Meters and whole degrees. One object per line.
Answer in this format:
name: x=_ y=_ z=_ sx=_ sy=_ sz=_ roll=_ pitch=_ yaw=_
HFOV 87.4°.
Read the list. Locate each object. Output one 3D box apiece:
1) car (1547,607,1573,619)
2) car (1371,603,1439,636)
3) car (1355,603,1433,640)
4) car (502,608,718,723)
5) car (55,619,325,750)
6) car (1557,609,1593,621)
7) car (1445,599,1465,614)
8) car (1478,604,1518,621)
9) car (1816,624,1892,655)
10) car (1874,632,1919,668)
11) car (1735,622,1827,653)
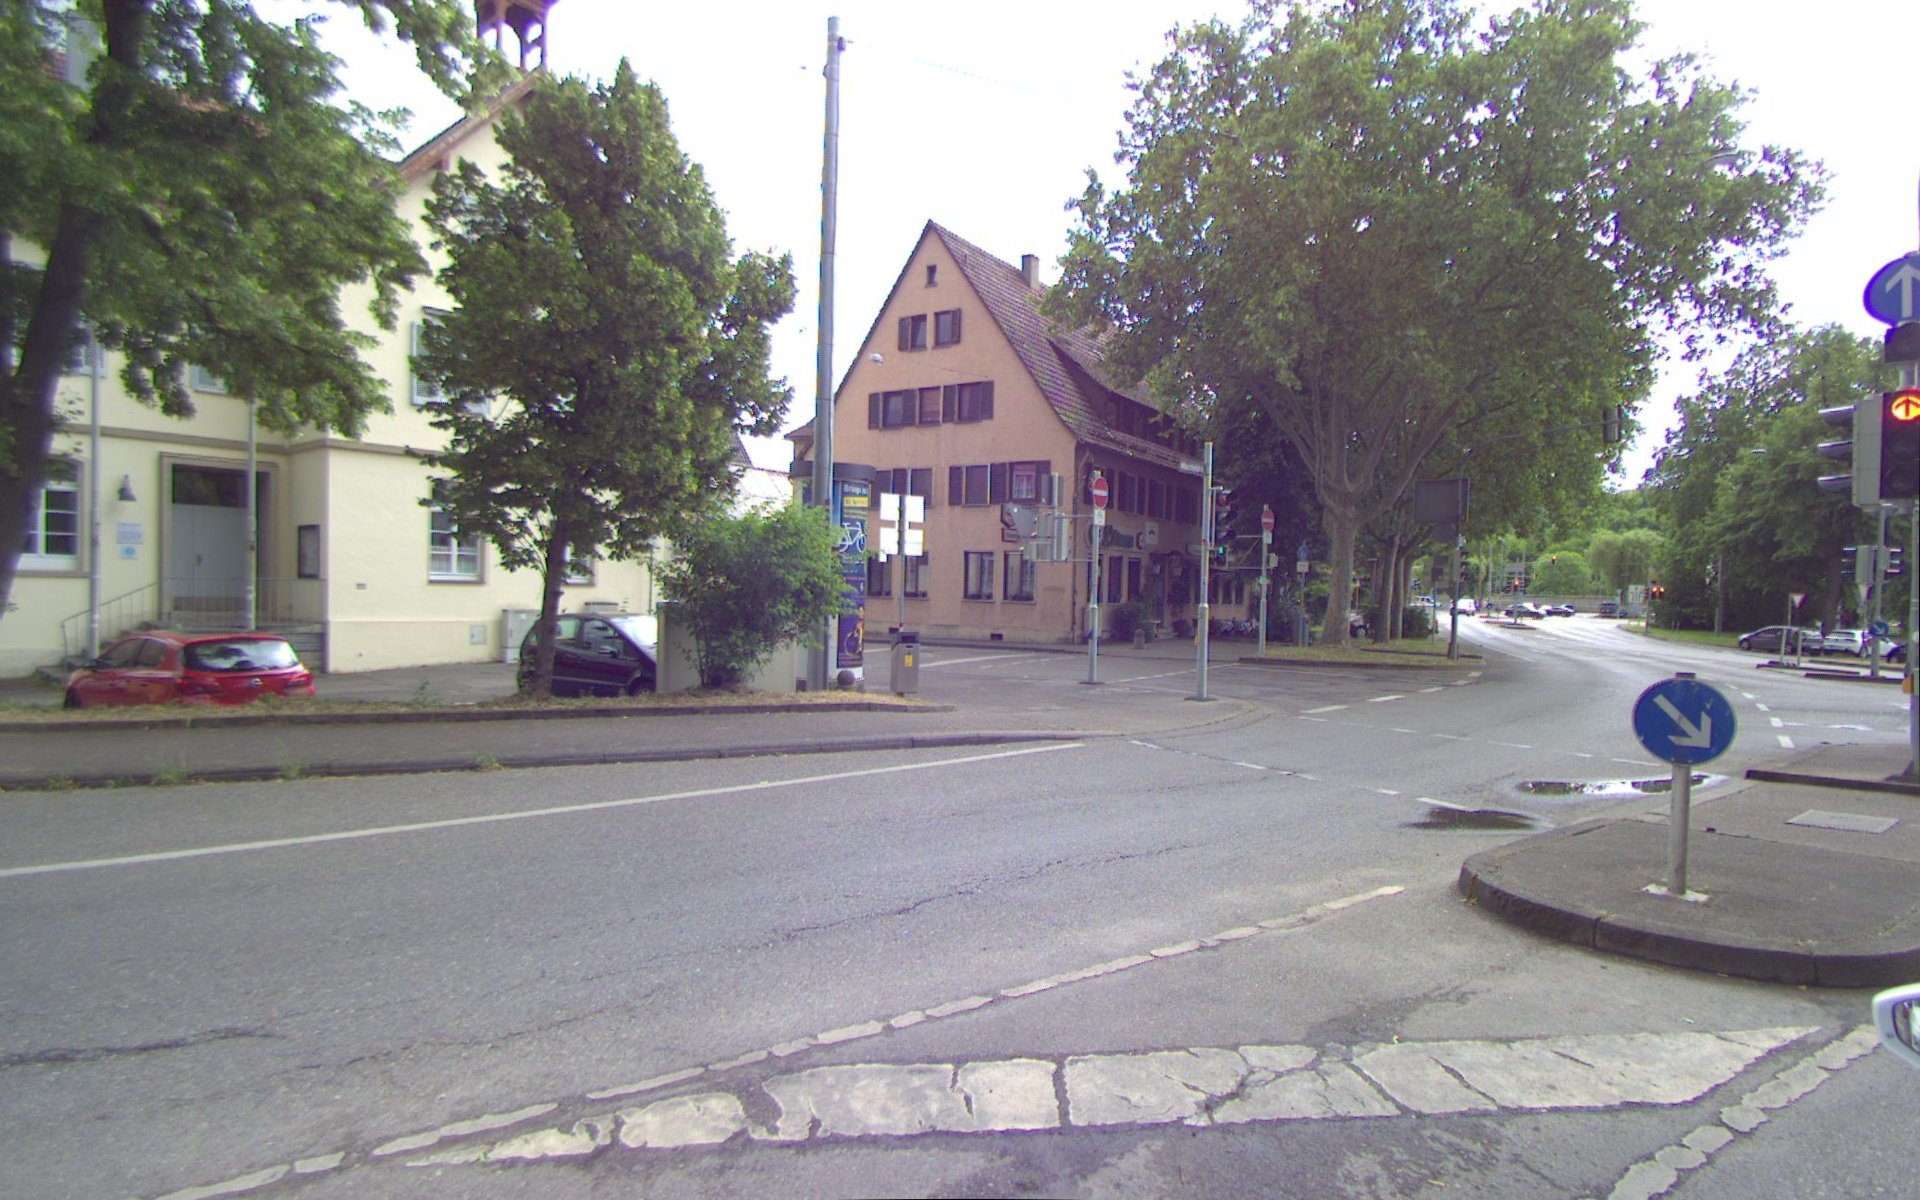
car: x=108.218 y=2.325 z=181.096 sx=3.928 sy=2.040 sz=1.996 roll=2 pitch=0 yaw=30
car: x=25.468 y=1.088 z=57.466 sx=3.387 sy=1.765 sz=1.570 roll=2 pitch=0 yaw=28
car: x=21.408 y=1.049 z=49.582 sx=3.387 sy=1.663 sz=1.570 roll=2 pitch=0 yaw=28
car: x=-5.762 y=1.007 z=16.590 sx=3.035 sy=1.654 sz=1.607 roll=2 pitch=0 yaw=22
car: x=-10.173 y=1.013 z=13.242 sx=3.492 sy=1.397 sz=1.605 roll=2 pitch=0 yaw=30
car: x=87.589 y=2.089 z=143.051 sx=3.945 sy=1.572 sz=1.857 roll=2 pitch=0 yaw=45
car: x=49.897 y=0.647 z=101.332 sx=1.404 sy=1.435 sz=2.872 roll=1 pitch=-1 yaw=19
car: x=66.479 y=1.559 z=124.126 sx=1.852 sy=2.040 sz=3.946 roll=2 pitch=0 yaw=-45
car: x=47.301 y=2.083 z=53.161 sx=3.342 sy=1.484 sz=1.543 roll=2 pitch=0 yaw=-19
car: x=39.569 y=2.078 z=40.945 sx=1.442 sy=1.412 sz=3.596 roll=2 pitch=0 yaw=3
car: x=43.862 y=1.970 z=53.761 sx=1.559 sy=1.484 sz=3.543 roll=2 pitch=0 yaw=-17
